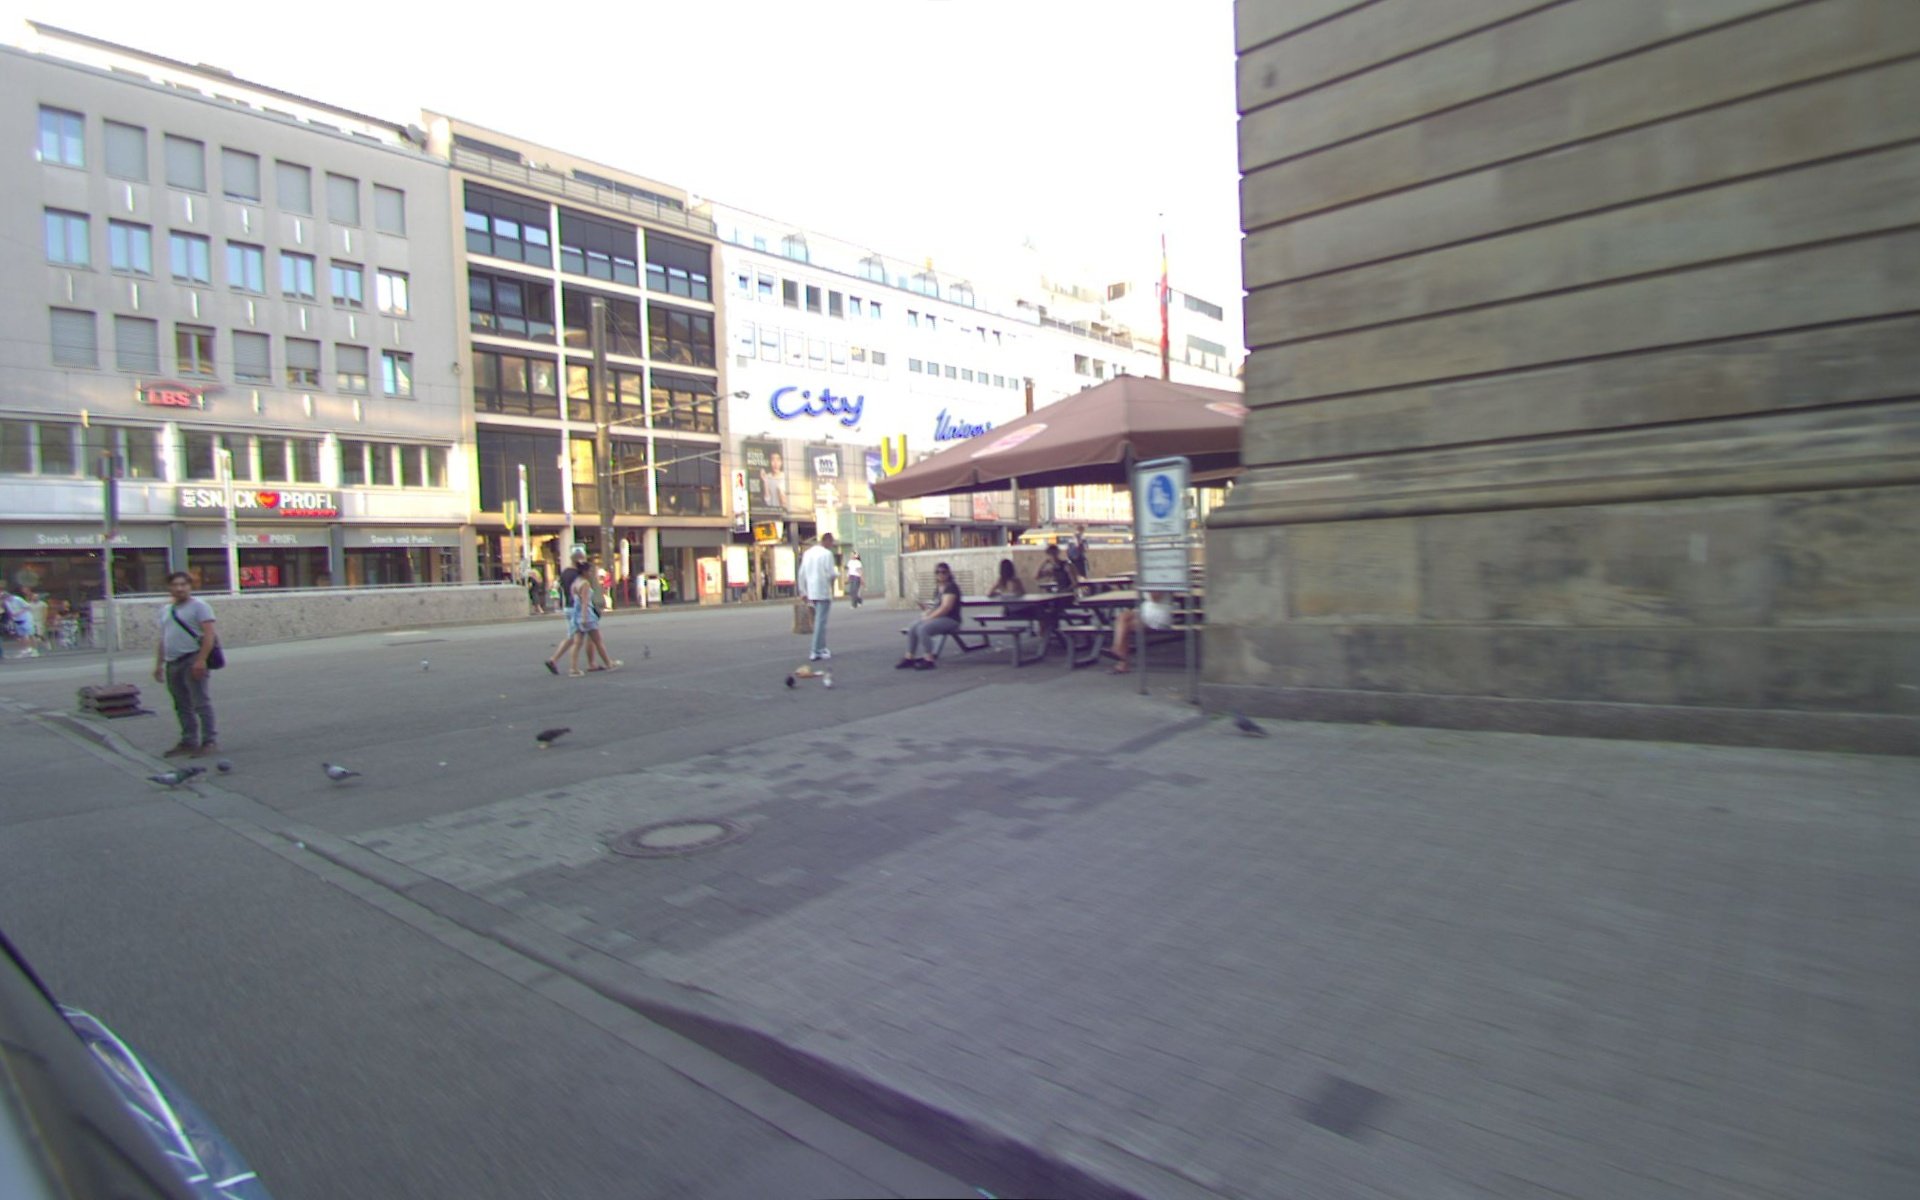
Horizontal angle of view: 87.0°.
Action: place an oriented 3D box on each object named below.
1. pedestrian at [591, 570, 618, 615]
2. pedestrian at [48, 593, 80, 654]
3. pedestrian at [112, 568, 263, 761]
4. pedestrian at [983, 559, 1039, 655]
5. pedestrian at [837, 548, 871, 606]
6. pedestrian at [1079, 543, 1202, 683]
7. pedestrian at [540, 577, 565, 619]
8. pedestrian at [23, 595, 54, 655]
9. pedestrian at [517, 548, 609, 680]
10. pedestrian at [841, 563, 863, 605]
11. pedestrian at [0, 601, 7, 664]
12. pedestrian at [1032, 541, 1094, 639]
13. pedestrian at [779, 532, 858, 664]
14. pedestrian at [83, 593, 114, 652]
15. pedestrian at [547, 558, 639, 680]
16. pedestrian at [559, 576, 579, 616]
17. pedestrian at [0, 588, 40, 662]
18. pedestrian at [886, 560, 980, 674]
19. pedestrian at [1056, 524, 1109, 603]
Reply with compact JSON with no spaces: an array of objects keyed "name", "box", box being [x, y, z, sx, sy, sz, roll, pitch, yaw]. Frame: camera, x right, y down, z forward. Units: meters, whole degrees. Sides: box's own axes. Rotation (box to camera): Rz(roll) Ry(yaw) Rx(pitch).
[{"name":"pedestrian","box":[-13.933,-0.308,39.668,0.699,1.720,0.681,-4,3,-44]},{"name":"pedestrian","box":[-26.026,0.689,29.380,0.558,1.720,0.539,-1,2,41]},{"name":"pedestrian","box":[-7.022,0.565,9.227,0.734,1.671,0.752,-2,1,6]},{"name":"pedestrian","box":[0.684,0.083,13.376,0.637,1.199,0.559,-4,3,6]},{"name":"pedestrian","box":[-3.267,-0.702,31.234,0.676,1.774,0.801,-2,1,-38]},{"name":"pedestrian","box":[1.822,0.114,10.240,0.850,1.281,0.752,-7,4,-31]},{"name":"pedestrian","box":[-16.668,-0.101,41.421,0.617,1.665,0.668,-2,2,9]},{"name":"pedestrian","box":[-27.121,0.721,29.785,0.558,1.720,0.539,-1,2,41]},{"name":"pedestrian","box":[-5.601,0.180,14.313,0.739,1.774,0.857,-2,3,20]},{"name":"pedestrian","box":[-4.527,-0.678,42.481,0.570,1.693,0.655,-2,2,23]},{"name":"pedestrian","box":[-24.227,0.811,25.154,0.665,1.552,0.643,-3,2,-38]},{"name":"pedestrian","box":[1.484,-0.142,14.547,0.611,1.345,0.555,-2,4,38]},{"name":"pedestrian","box":[-1.963,-0.029,14.091,0.796,1.774,0.681,-2,1,27]},{"name":"pedestrian","box":[-25.658,0.665,30.144,0.558,1.720,0.539,-1,2,41]},{"name":"pedestrian","box":[-5.078,0.246,14.031,0.733,1.602,0.860,-2,3,20]},{"name":"pedestrian","box":[-15.939,-0.172,41.260,0.488,1.598,0.570,-2,2,9]},{"name":"pedestrian","box":[-25.117,0.644,26.954,0.641,1.906,0.774,-1,2,40]},{"name":"pedestrian","box":[-0.332,0.193,12.379,0.766,1.283,0.789,-6,4,-33]},{"name":"pedestrian","box":[2.761,-0.819,22.738,0.811,1.705,0.717,-6,4,-35]}]
